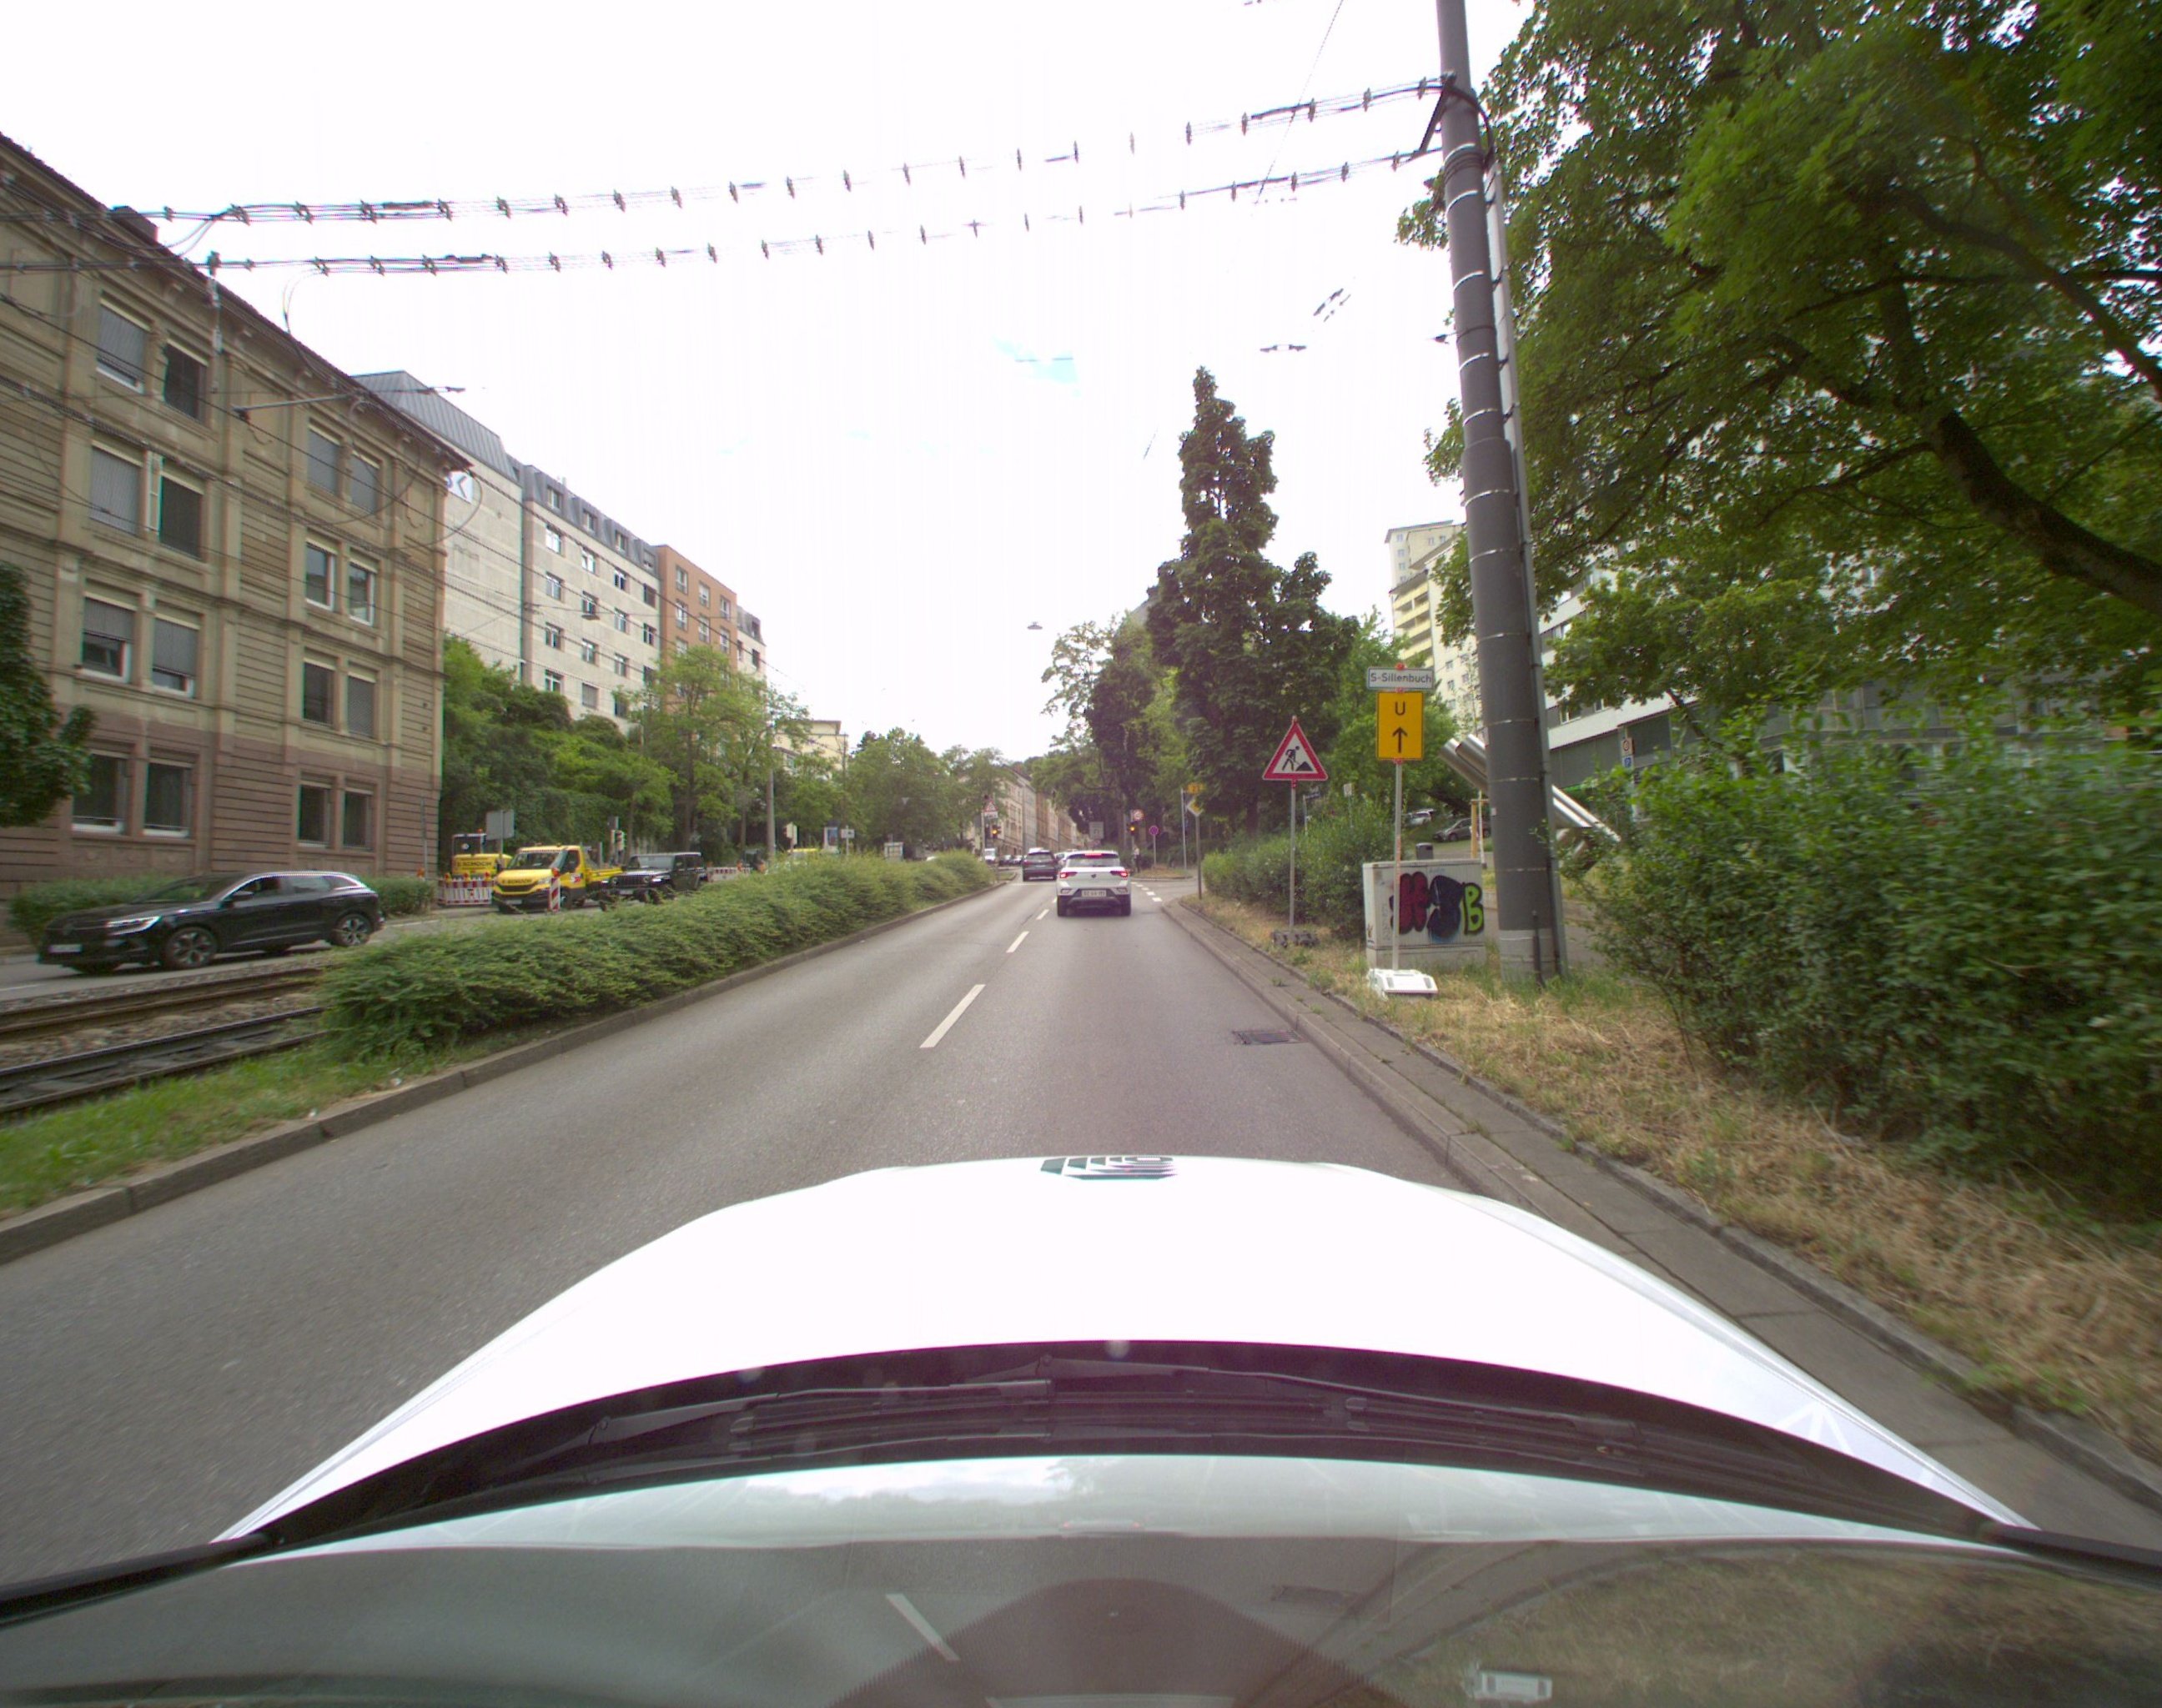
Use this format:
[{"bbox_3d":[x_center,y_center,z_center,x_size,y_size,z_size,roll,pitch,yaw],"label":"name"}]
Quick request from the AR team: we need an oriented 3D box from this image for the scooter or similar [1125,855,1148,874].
[{"bbox_3d":[3.048,0.571,44.792,1.186,0.994,0.530,-3,0,-7],"label":"scooter or similar"}]

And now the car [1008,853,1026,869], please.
[{"bbox_3d":[-8.673,0.984,111.076,1.986,2.014,4.000,1,-2,2],"label":"car"}]

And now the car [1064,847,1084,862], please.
[{"bbox_3d":[-0.967,0.068,122.870,2.410,2.169,6.042,-1,0,5],"label":"car"}]

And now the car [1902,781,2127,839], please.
[{"bbox_3d":[26.248,-1.169,23.074,1.623,1.279,3.888,2,-3,-26],"label":"car"}]

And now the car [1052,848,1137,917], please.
[{"bbox_3d":[0.304,0.637,20.585,1.932,1.566,4.045,0,0,0],"label":"car"}]

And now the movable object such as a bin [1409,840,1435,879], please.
[{"bbox_3d":[10.005,0.163,23.894,0.492,1.094,0.565,-3,0,1],"label":"movable object such as a bin"}]

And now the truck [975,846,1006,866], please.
[{"bbox_3d":[-10.704,0.206,96.510,2.409,2.169,6.045,1,1,6],"label":"truck"}]

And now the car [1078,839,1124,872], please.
[{"bbox_3d":[0.976,0.125,41.968,1.900,1.574,3.826,1,-2,-5],"label":"car"}]

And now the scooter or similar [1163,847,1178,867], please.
[{"bbox_3d":[5.233,0.179,47.653,0.474,1.100,1.363,-3,-3,-10],"label":"scooter or similar"}]

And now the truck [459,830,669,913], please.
[{"bbox_3d":[-18.265,0.695,29.492,2.907,2.510,7.154,-2,-2,1],"label":"truck"}]

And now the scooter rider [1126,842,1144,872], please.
[{"bbox_3d":[2.968,0.167,44.786,0.777,1.558,0.531,-3,0,-8],"label":"scooter rider"}]

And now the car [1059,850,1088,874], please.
[{"bbox_3d":[-0.619,0.620,61.054,1.988,1.623,3.996,-3,-1,-2],"label":"car"}]

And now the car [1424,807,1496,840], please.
[{"bbox_3d":[26.426,-2.116,56.853,4.124,2.013,1.996,-3,0,-6],"label":"car"}]

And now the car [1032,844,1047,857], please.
[{"bbox_3d":[-6.603,-0.544,129.704,1.986,2.013,4.001,-3,0,1],"label":"car"}]

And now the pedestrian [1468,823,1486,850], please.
[{"bbox_3d":[22.766,-1.010,46.823,0.560,1.499,0.672,-3,0,-25],"label":"pedestrian"}]

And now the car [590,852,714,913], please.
[{"bbox_3d":[-14.299,0.907,27.487,1.895,1.876,4.637,-1,-1,-3],"label":"car"}]

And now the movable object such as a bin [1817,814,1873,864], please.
[{"bbox_3d":[17.104,-0.330,18.242,0.666,1.082,0.609,1,-2,2],"label":"movable object such as a bin"}]

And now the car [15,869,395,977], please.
[{"bbox_3d":[-15.299,1.104,14.690,1.857,1.554,4.442,-2,-1,4],"label":"car"}]

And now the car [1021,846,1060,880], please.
[{"bbox_3d":[-2.177,0.505,45.119,1.833,1.740,4.001,-2,0,1],"label":"car"}]

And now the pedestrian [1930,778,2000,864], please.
[{"bbox_3d":[16.383,-0.599,15.104,0.547,1.542,0.619,-3,0,-1],"label":"pedestrian"}]

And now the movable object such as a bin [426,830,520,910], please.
[{"bbox_3d":[-22.878,0.598,30.730,1.990,2.838,2.026,-2,-1,-5],"label":"movable object such as a bin"}]
